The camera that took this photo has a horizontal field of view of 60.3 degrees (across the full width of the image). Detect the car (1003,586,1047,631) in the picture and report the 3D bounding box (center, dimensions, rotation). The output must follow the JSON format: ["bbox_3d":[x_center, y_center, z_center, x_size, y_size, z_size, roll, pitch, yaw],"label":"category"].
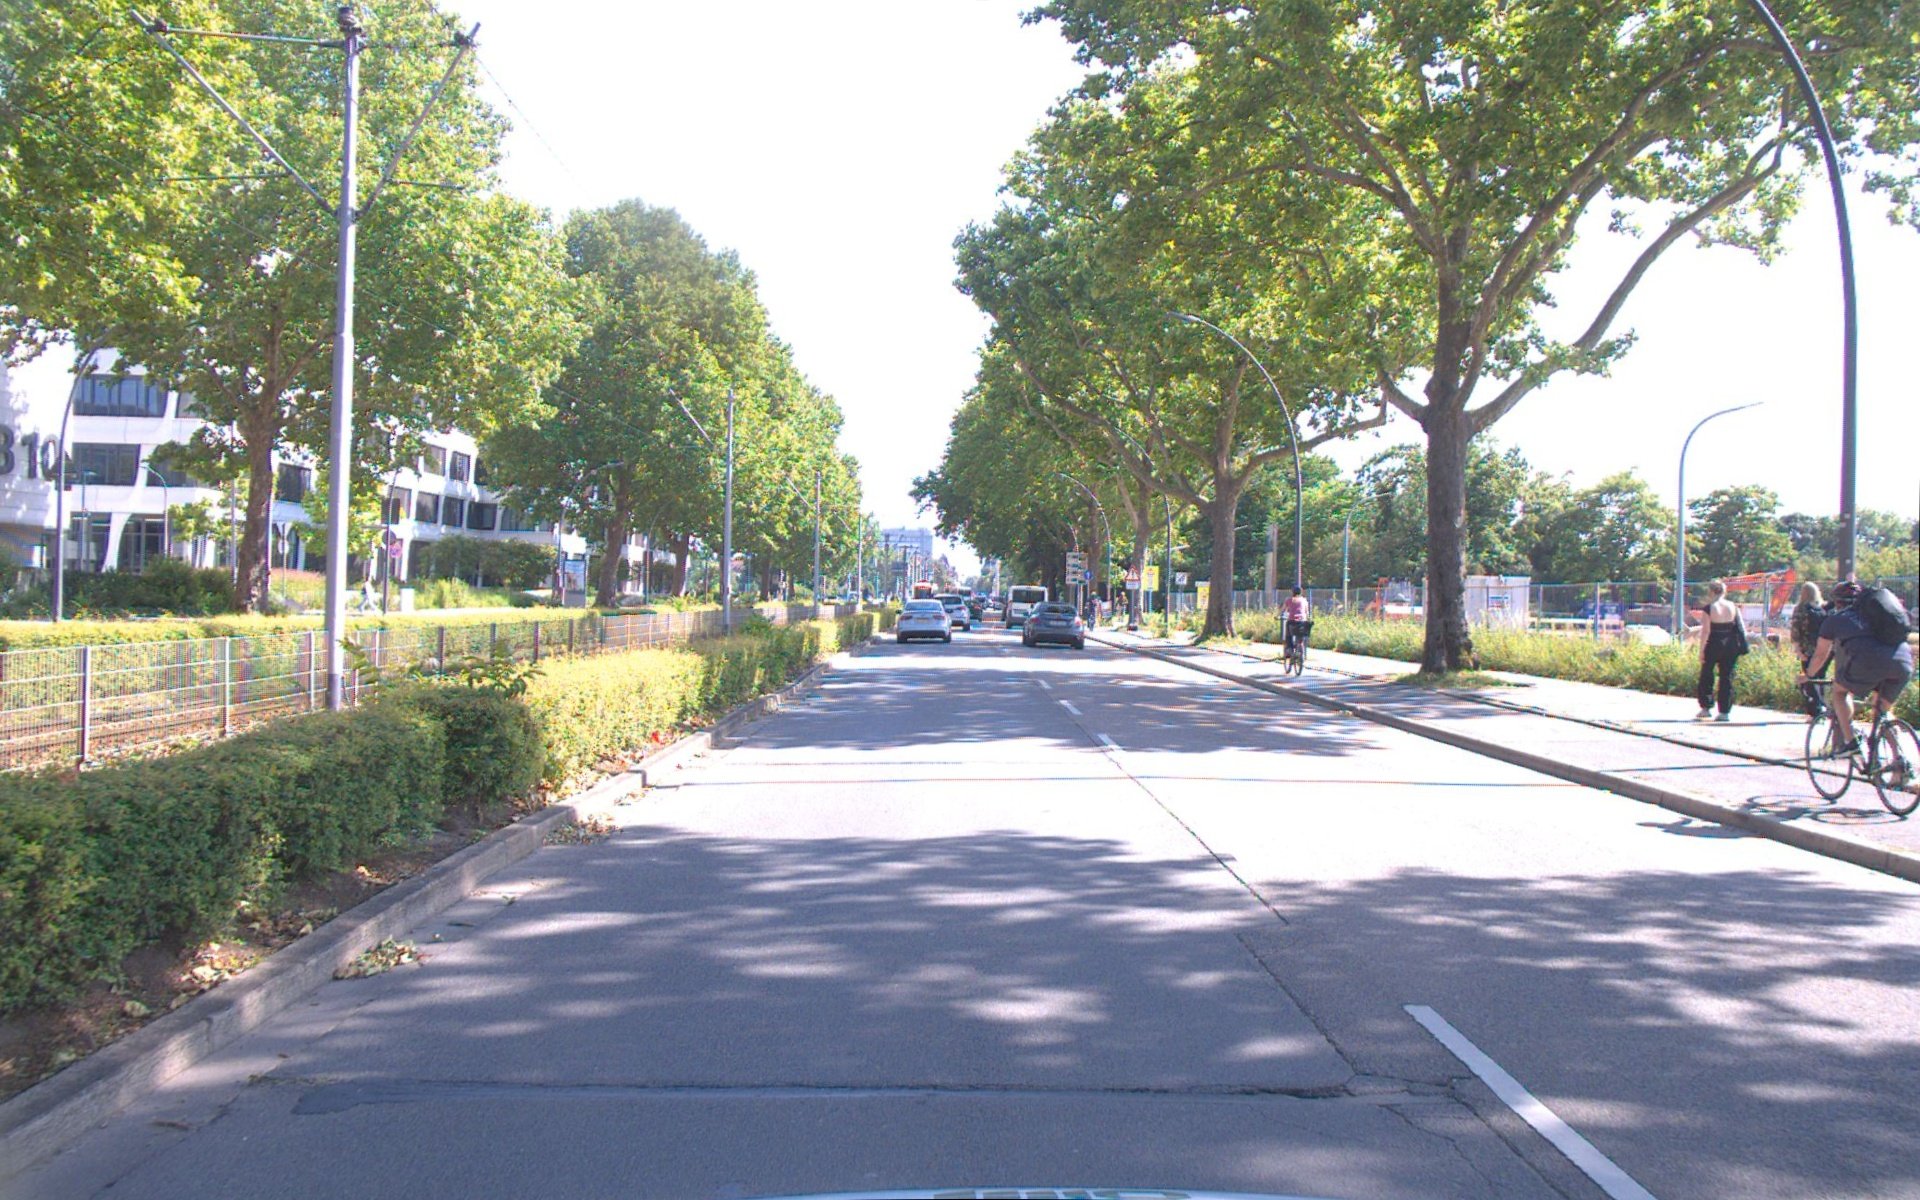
[{"bbox_3d":[3.379,0.435,87.109,2.184,2.250,4.162,2,0,1],"label":"car"}]

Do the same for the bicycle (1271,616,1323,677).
[{"bbox_3d":[6.659,0.904,32.771,0.638,1.149,1.945,0,0,0],"label":"bicycle"}]

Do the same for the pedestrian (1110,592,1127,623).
[{"bbox_3d":[9.946,0.457,104.032,0.919,1.925,1.151,1,0,1],"label":"pedestrian"}]

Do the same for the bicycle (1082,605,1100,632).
[{"bbox_3d":[6.245,0.881,78.938,0.700,1.168,2.178,-1,2,0],"label":"bicycle"}]

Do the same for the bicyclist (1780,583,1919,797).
[{"bbox_3d":[6.800,0.641,12.462,0.586,1.515,1.214,-1,0,-1],"label":"bicyclist"}]

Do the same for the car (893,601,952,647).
[{"bbox_3d":[-1.211,0.783,55.132,1.748,1.445,3.885,2,0,1],"label":"car"}]

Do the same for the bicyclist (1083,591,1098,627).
[{"bbox_3d":[6.219,0.424,78.947,0.621,1.677,0.979,-1,1,0],"label":"bicyclist"}]

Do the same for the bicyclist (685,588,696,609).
[{"bbox_3d":[-20.622,-0.098,126.519,0.641,1.562,0.641,2,0,1],"label":"bicyclist"}]

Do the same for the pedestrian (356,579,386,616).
[{"bbox_3d":[-26.407,-0.125,74.191,0.707,1.616,1.013,1,-1,30],"label":"pedestrian"}]

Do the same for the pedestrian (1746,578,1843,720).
[{"bbox_3d":[10.376,0.599,20.591,0.681,1.713,0.959,1,0,-1],"label":"pedestrian"}]

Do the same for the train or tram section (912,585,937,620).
[{"bbox_3d":[-4.312,0.283,200.569,2.562,4.085,7.750,2,0,2],"label":"train or tram section"}]

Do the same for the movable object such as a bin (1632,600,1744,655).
[{"bbox_3d":[42.647,1.578,97.007,5.069,3.027,3.294,2,0,1],"label":"movable object such as a bin"}]

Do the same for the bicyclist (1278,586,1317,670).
[{"bbox_3d":[6.675,0.546,32.743,0.607,1.628,0.732,-1,0,-1],"label":"bicyclist"}]

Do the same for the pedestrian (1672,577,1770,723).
[{"bbox_3d":[9.514,0.611,20.709,0.695,1.754,1.066,1,0,-1],"label":"pedestrian"}]

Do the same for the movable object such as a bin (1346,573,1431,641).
[{"bbox_3d":[20.712,0.309,80.311,2.322,3.125,5.983,2,0,-2],"label":"movable object such as a bin"}]

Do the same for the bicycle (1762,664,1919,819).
[{"bbox_3d":[6.807,1.026,12.496,0.585,0.997,1.781,-1,0,-1],"label":"bicycle"}]

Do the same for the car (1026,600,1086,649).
[{"bbox_3d":[3.019,0.770,52.695,1.745,1.445,4.000,2,0,1],"label":"car"}]

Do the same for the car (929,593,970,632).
[{"bbox_3d":[-0.459,0.560,74.097,1.694,1.633,3.885,2,0,1],"label":"car"}]

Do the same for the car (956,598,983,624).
[{"bbox_3d":[0.656,0.732,110.139,1.694,1.633,3.885,2,0,1],"label":"car"}]

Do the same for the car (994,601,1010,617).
[{"bbox_3d":[5.598,1.238,222.068,2.029,2.034,4.058,2,0,1],"label":"car"}]

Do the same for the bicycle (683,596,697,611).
[{"bbox_3d":[-20.636,0.262,126.465,0.650,1.144,2.031,2,0,1],"label":"bicycle"}]
